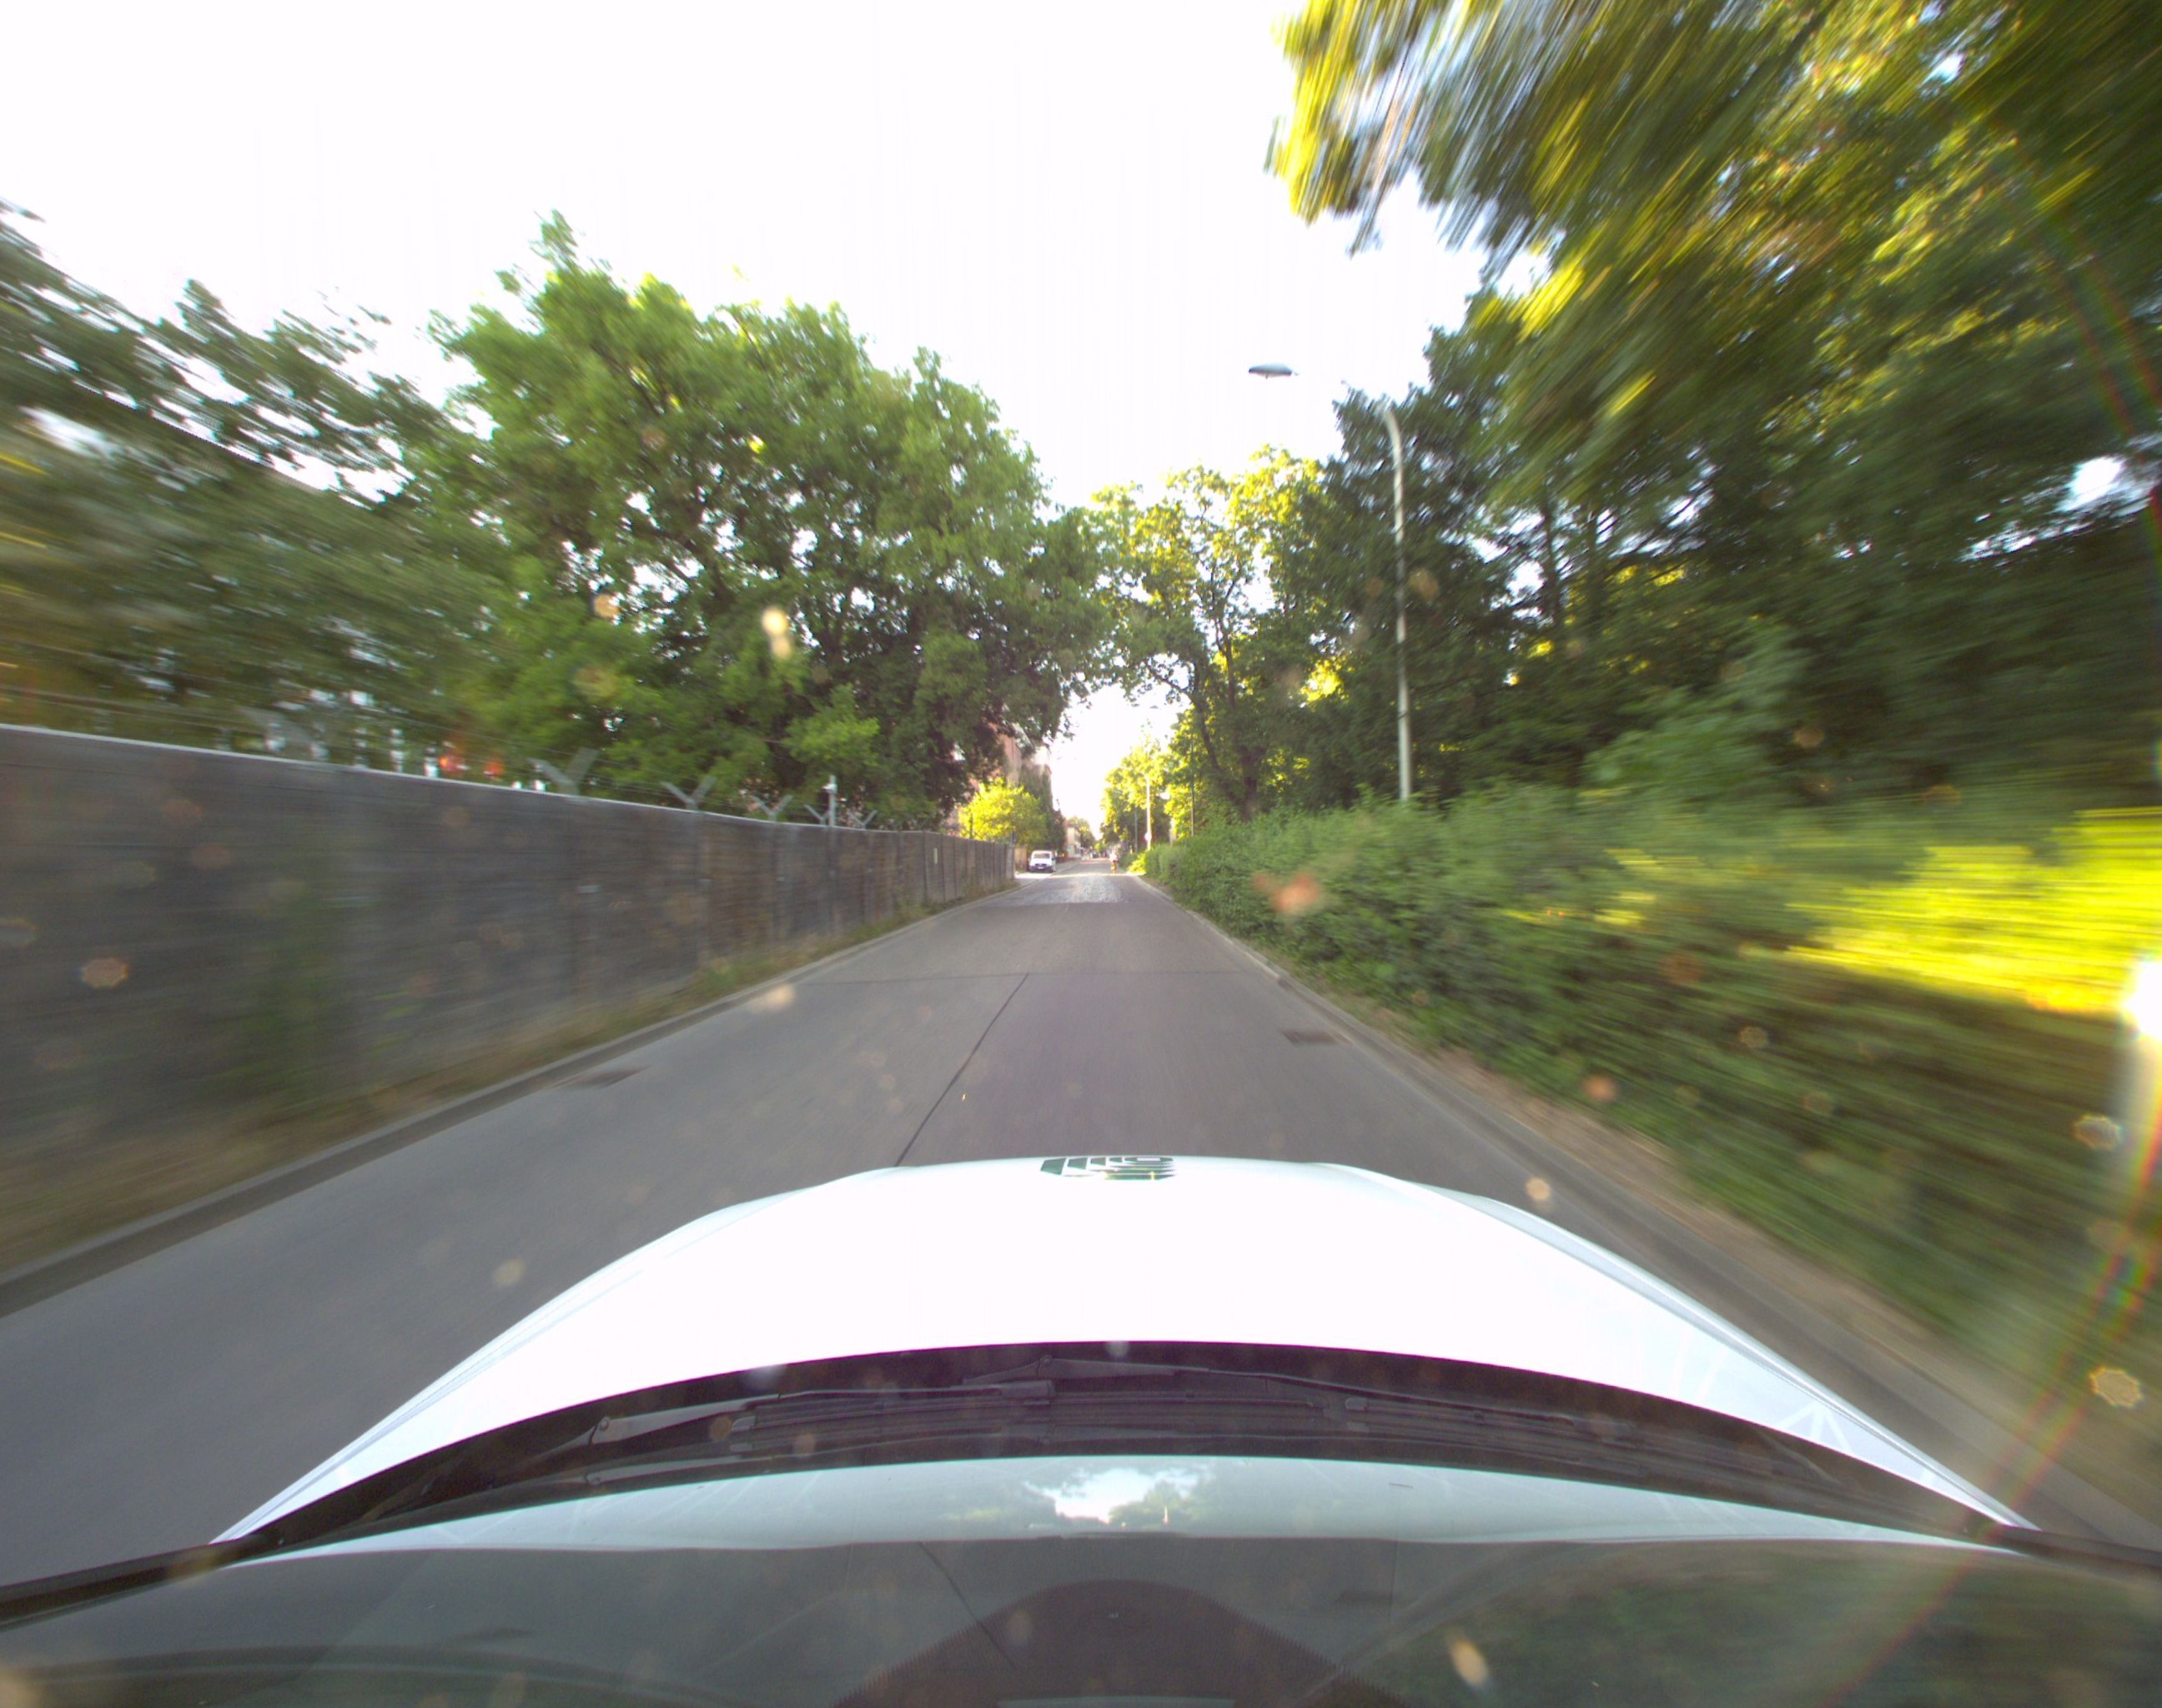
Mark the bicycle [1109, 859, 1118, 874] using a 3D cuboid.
[{"bbox_3d":[2.655,0.968,65.766,0.636,1.193,1.875,0,0,0],"label":"bicycle"}]

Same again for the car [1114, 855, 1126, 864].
[{"bbox_3d":[6.890,0.918,144.423,1.710,1.538,4.047,-2,0,-1],"label":"car"}]

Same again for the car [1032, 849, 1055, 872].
[{"bbox_3d":[-3.247,0.600,71.252,1.877,2.014,5.224,0,-1,0],"label":"car"}]

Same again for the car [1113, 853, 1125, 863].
[{"bbox_3d":[6.136,0.659,130.857,1.680,1.447,3.670,-4,-1,-1],"label":"car"}]

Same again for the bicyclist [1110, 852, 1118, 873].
[{"bbox_3d":[2.653,0.669,65.777,0.637,1.667,0.842,0,-1,-1],"label":"bicyclist"}]
